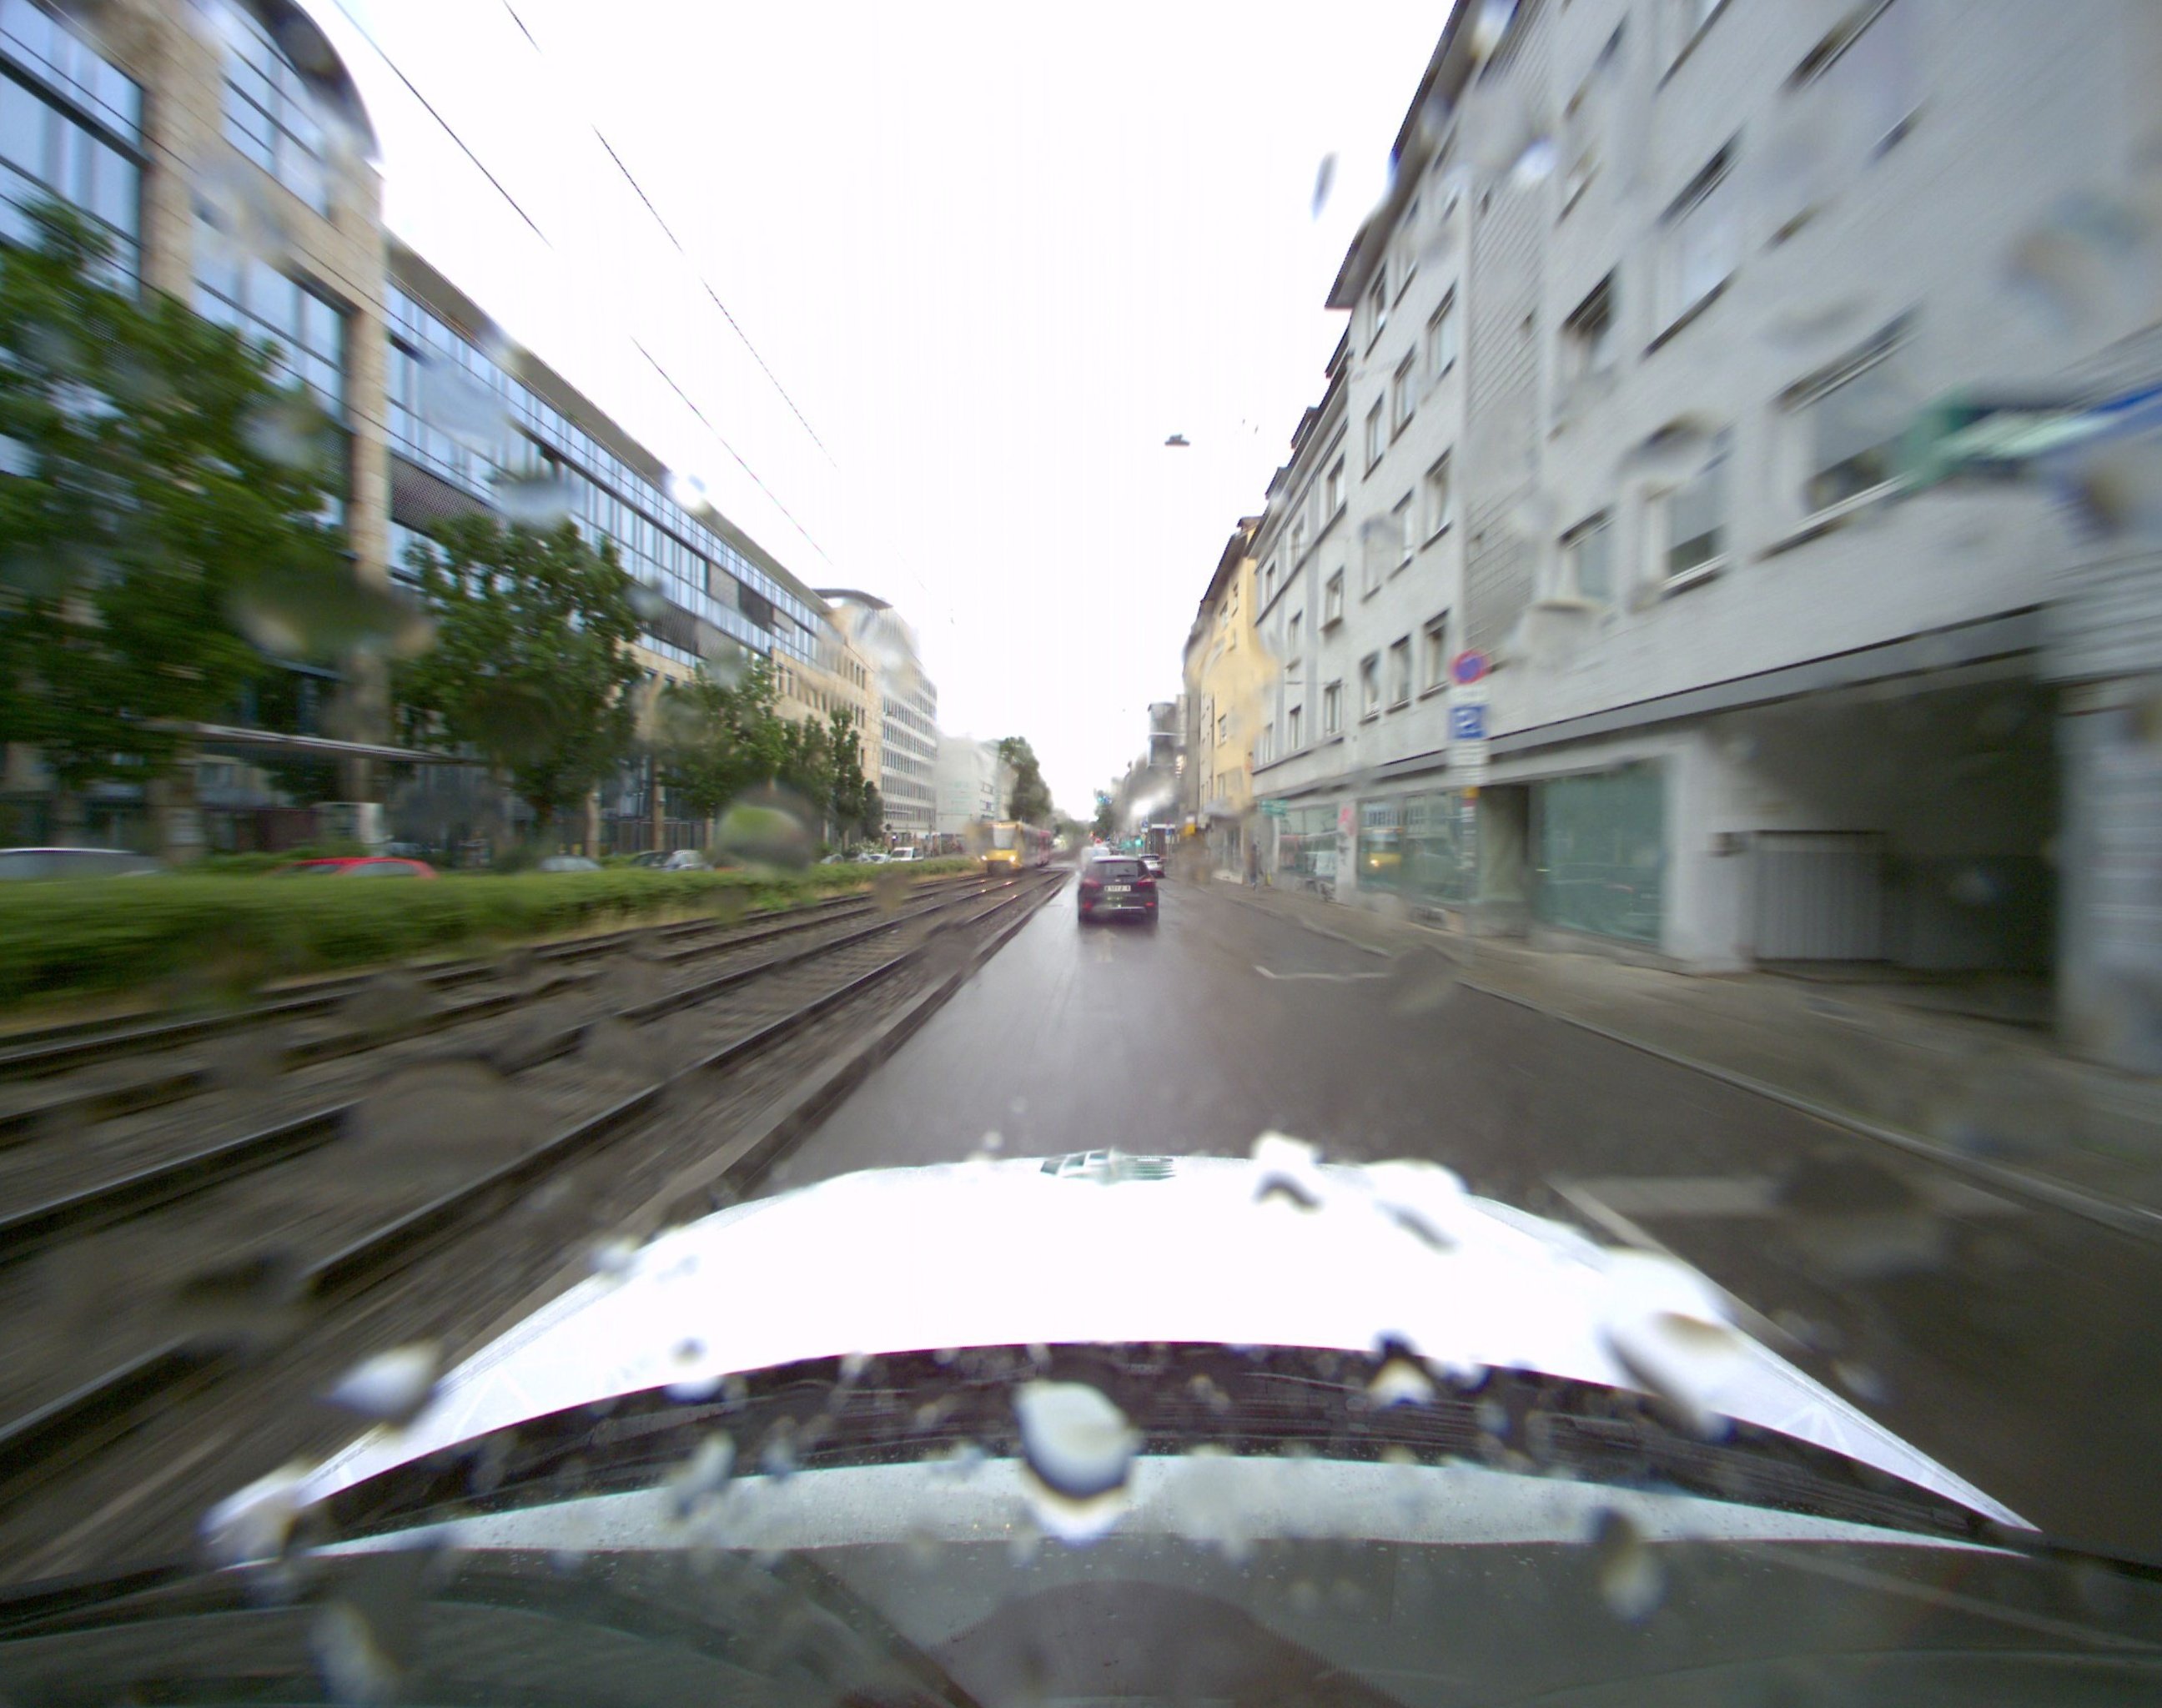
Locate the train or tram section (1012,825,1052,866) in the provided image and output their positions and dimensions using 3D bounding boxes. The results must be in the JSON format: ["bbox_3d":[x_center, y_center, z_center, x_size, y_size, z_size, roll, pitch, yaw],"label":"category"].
[{"bbox_3d":[-4.753,-0.841,82.259,3.528,3.777,13.423,0,0,-1],"label":"train or tram section"}]

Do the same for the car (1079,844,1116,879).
[{"bbox_3d":[0.977,0.398,45.909,1.899,1.865,4.577,0,0,3],"label":"car"}]

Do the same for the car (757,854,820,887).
[{"bbox_3d":[-13.709,0.756,38.350,1.564,1.436,4.175,0,0,-2],"label":"car"}]

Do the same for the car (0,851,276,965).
[{"bbox_3d":[-14.454,0.682,11.767,1.564,1.436,4.175,0,0,-2],"label":"car"}]

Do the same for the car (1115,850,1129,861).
[{"bbox_3d":[5.708,0.215,114.024,1.899,1.633,4.576,0,0,2],"label":"car"}]

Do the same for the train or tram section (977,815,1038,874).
[{"bbox_3d":[-5.059,-0.645,58.319,3.503,3.777,11.325,0,0,-1],"label":"train or tram section"}]

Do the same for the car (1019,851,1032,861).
[{"bbox_3d":[-9.971,0.381,145.473,1.900,1.865,4.574,0,0,1],"label":"car"}]

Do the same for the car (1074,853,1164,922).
[{"bbox_3d":[0.856,0.716,18.843,1.899,1.462,3.446,0,0,2],"label":"car"}]

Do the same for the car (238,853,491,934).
[{"bbox_3d":[-14.332,0.699,16.659,1.564,1.436,4.175,0,0,-2],"label":"car"}]

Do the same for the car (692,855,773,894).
[{"bbox_3d":[-13.917,0.770,32.760,1.564,1.436,4.175,0,0,-2],"label":"car"}]

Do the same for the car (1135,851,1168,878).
[{"bbox_3d":[4.432,0.670,52.031,1.899,1.633,4.576,0,0,2],"label":"car"}]

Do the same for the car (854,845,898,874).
[{"bbox_3d":[-13.710,0.374,54.685,1.901,1.865,4.570,0,0,-2],"label":"car"}]

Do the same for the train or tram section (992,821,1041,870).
[{"bbox_3d":[-5.317,-0.699,69.667,3.528,3.777,11.325,0,0,-1],"label":"train or tram section"}]

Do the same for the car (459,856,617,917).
[{"bbox_3d":[-14.482,0.802,22.029,1.564,1.436,4.175,0,0,-2],"label":"car"}]

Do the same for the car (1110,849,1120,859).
[{"bbox_3d":[6.089,0.011,145.725,1.899,1.633,4.576,0,0,2],"label":"car"}]

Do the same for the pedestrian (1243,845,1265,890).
[{"bbox_3d":[5.980,0.459,28.149,0.609,1.537,0.649,0,0,0],"label":"pedestrian"}]

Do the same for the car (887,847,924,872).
[{"bbox_3d":[-13.143,0.409,61.111,1.901,1.865,4.570,0,0,-2],"label":"car"}]

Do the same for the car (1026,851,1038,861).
[{"bbox_3d":[-9.472,0.439,157.143,1.900,1.865,4.573,0,0,0],"label":"car"}]
